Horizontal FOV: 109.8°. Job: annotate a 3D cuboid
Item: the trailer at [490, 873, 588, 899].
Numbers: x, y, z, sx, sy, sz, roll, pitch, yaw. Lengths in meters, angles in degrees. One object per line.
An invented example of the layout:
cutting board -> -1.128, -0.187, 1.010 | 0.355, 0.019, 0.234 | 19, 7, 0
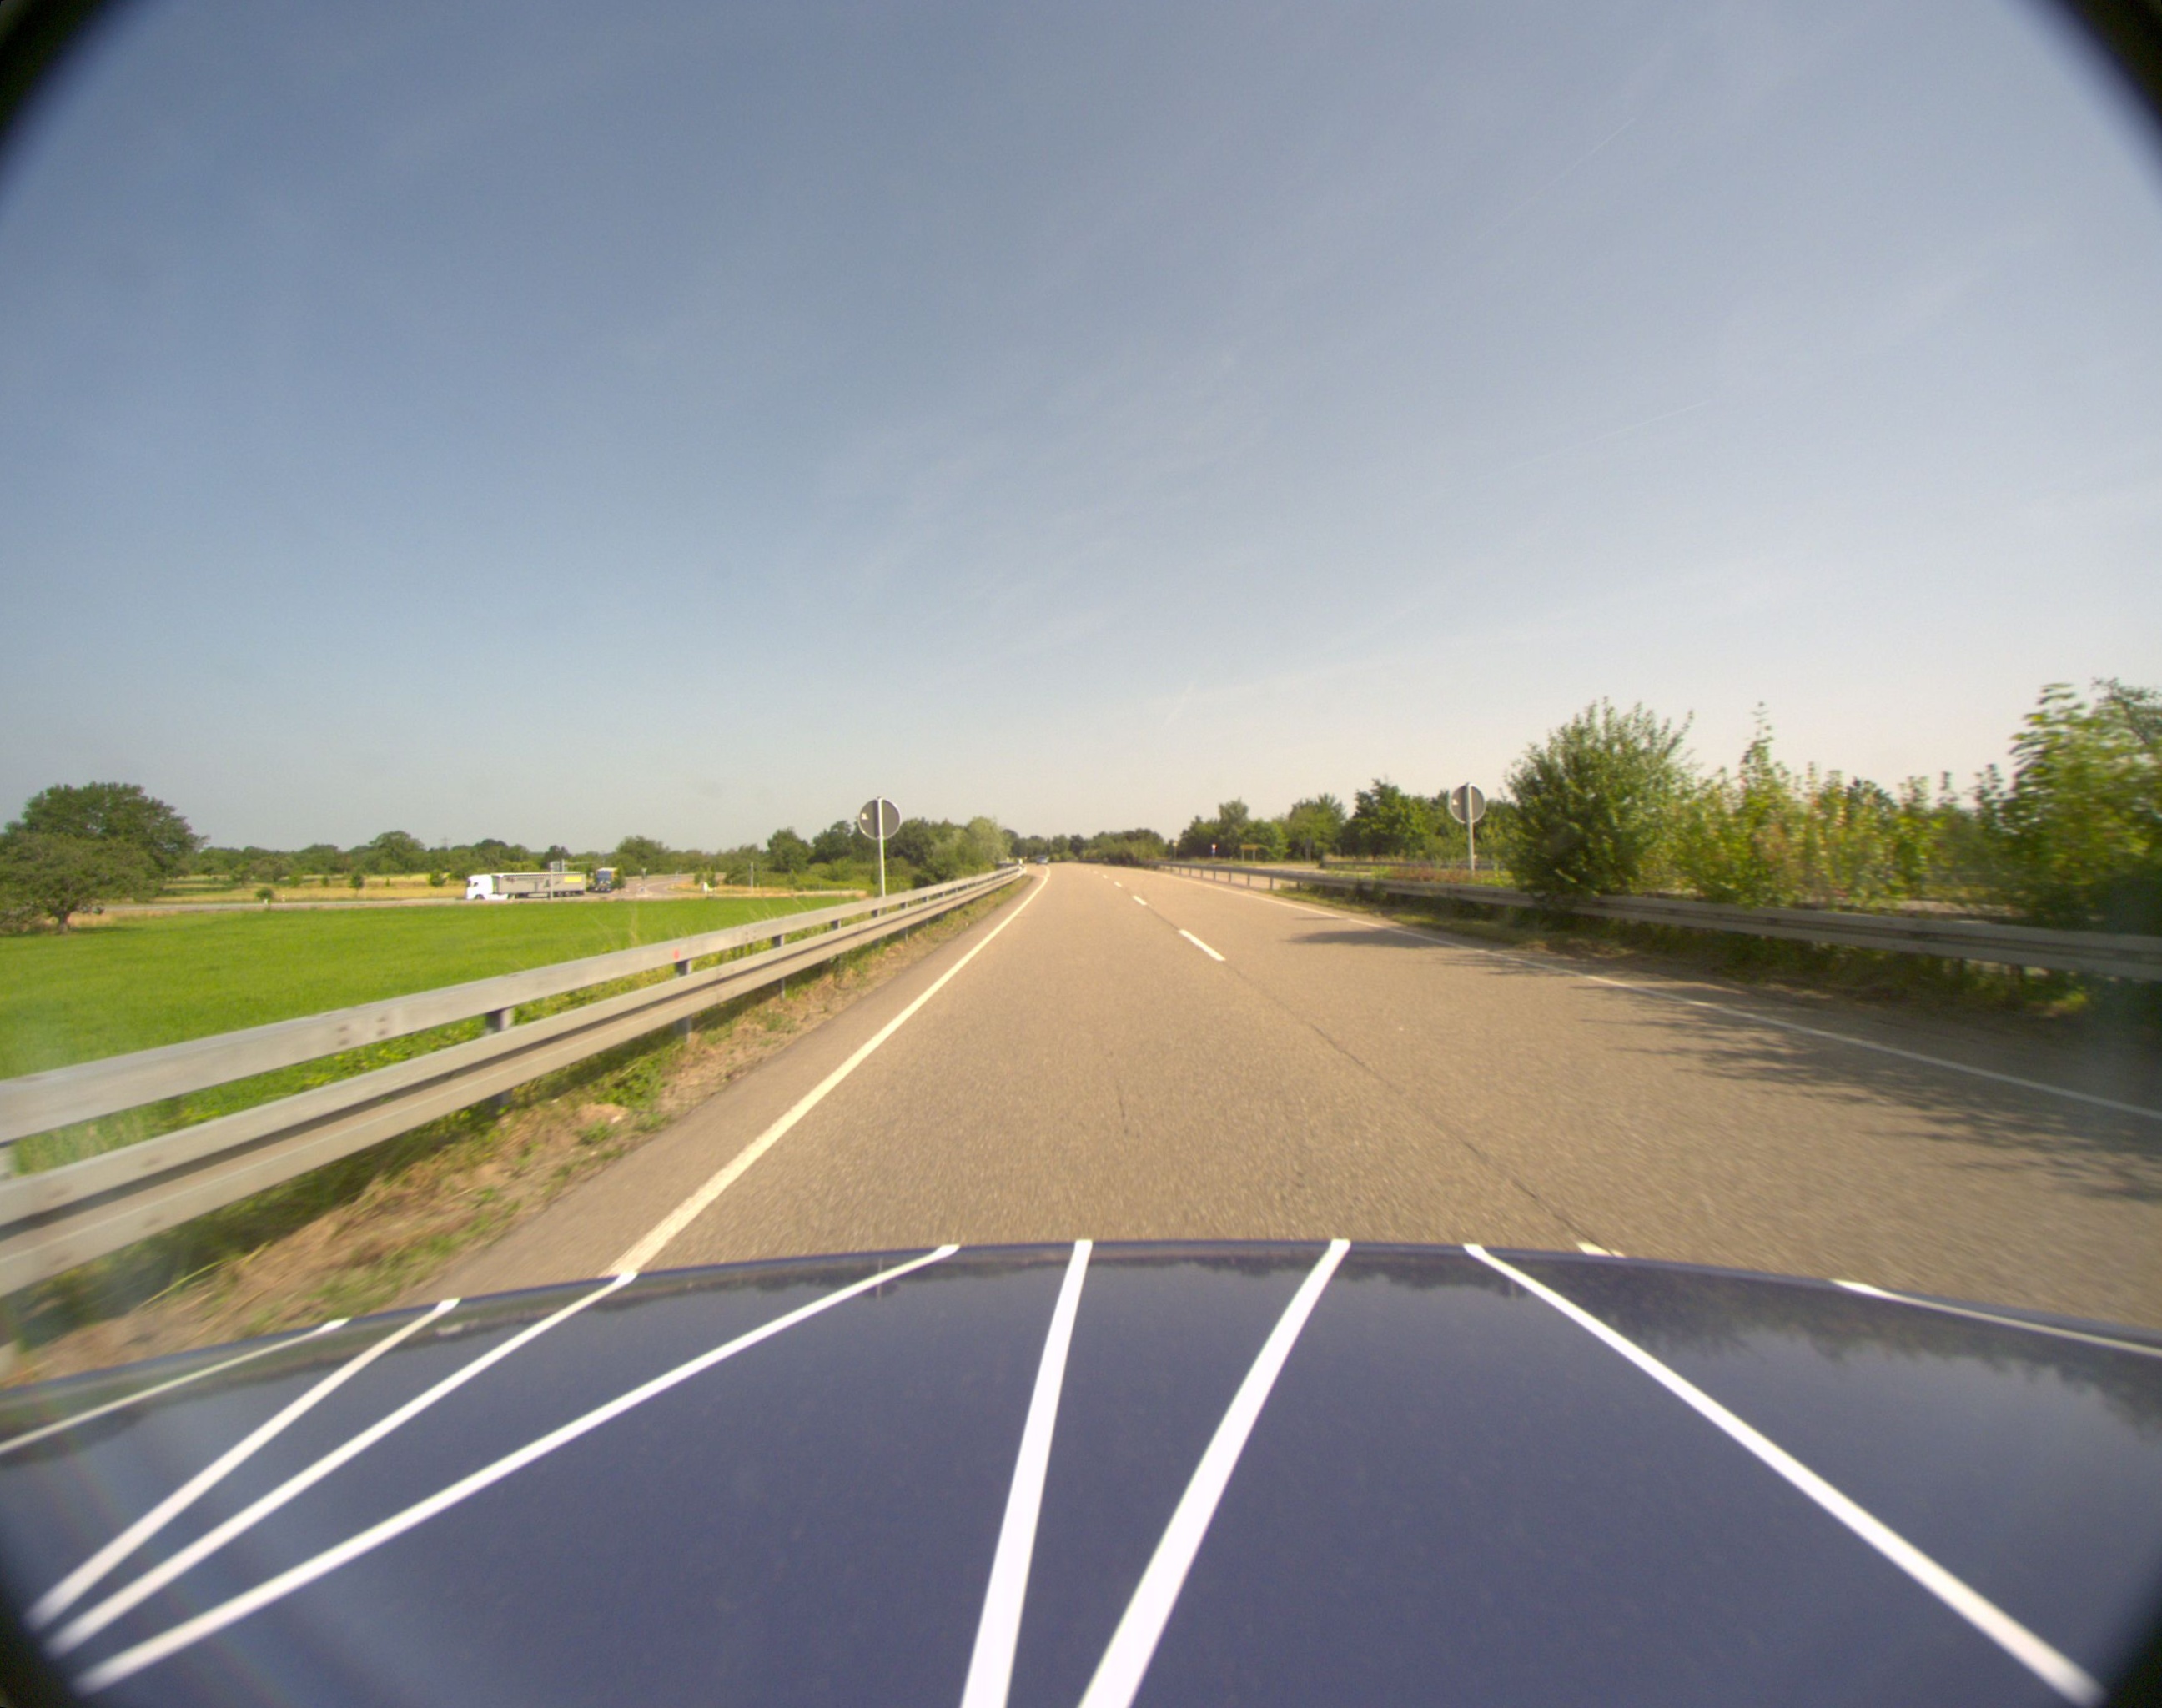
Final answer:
trailer -> -87.185, 5.104, 122.758 | 2.103, 3.631, 13.953 | -1, 0, 21

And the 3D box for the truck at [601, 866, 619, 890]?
truck -> -86.355, 4.389, 139.290 | 2.265, 4.145, 4.362 | -1, 0, -26

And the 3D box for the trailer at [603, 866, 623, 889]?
trailer -> -89.494, 4.451, 145.340 | 2.265, 4.145, 14.393 | -1, 0, -28

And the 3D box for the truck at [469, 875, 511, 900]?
truck -> -90.492, 5.116, 116.450 | 4.952, 3.656, 2.103 | -1, 0, -36

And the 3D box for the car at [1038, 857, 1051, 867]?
car -> -6.046, 1.361, 125.875 | 1.703, 1.474, 3.598 | -3, -1, -7
